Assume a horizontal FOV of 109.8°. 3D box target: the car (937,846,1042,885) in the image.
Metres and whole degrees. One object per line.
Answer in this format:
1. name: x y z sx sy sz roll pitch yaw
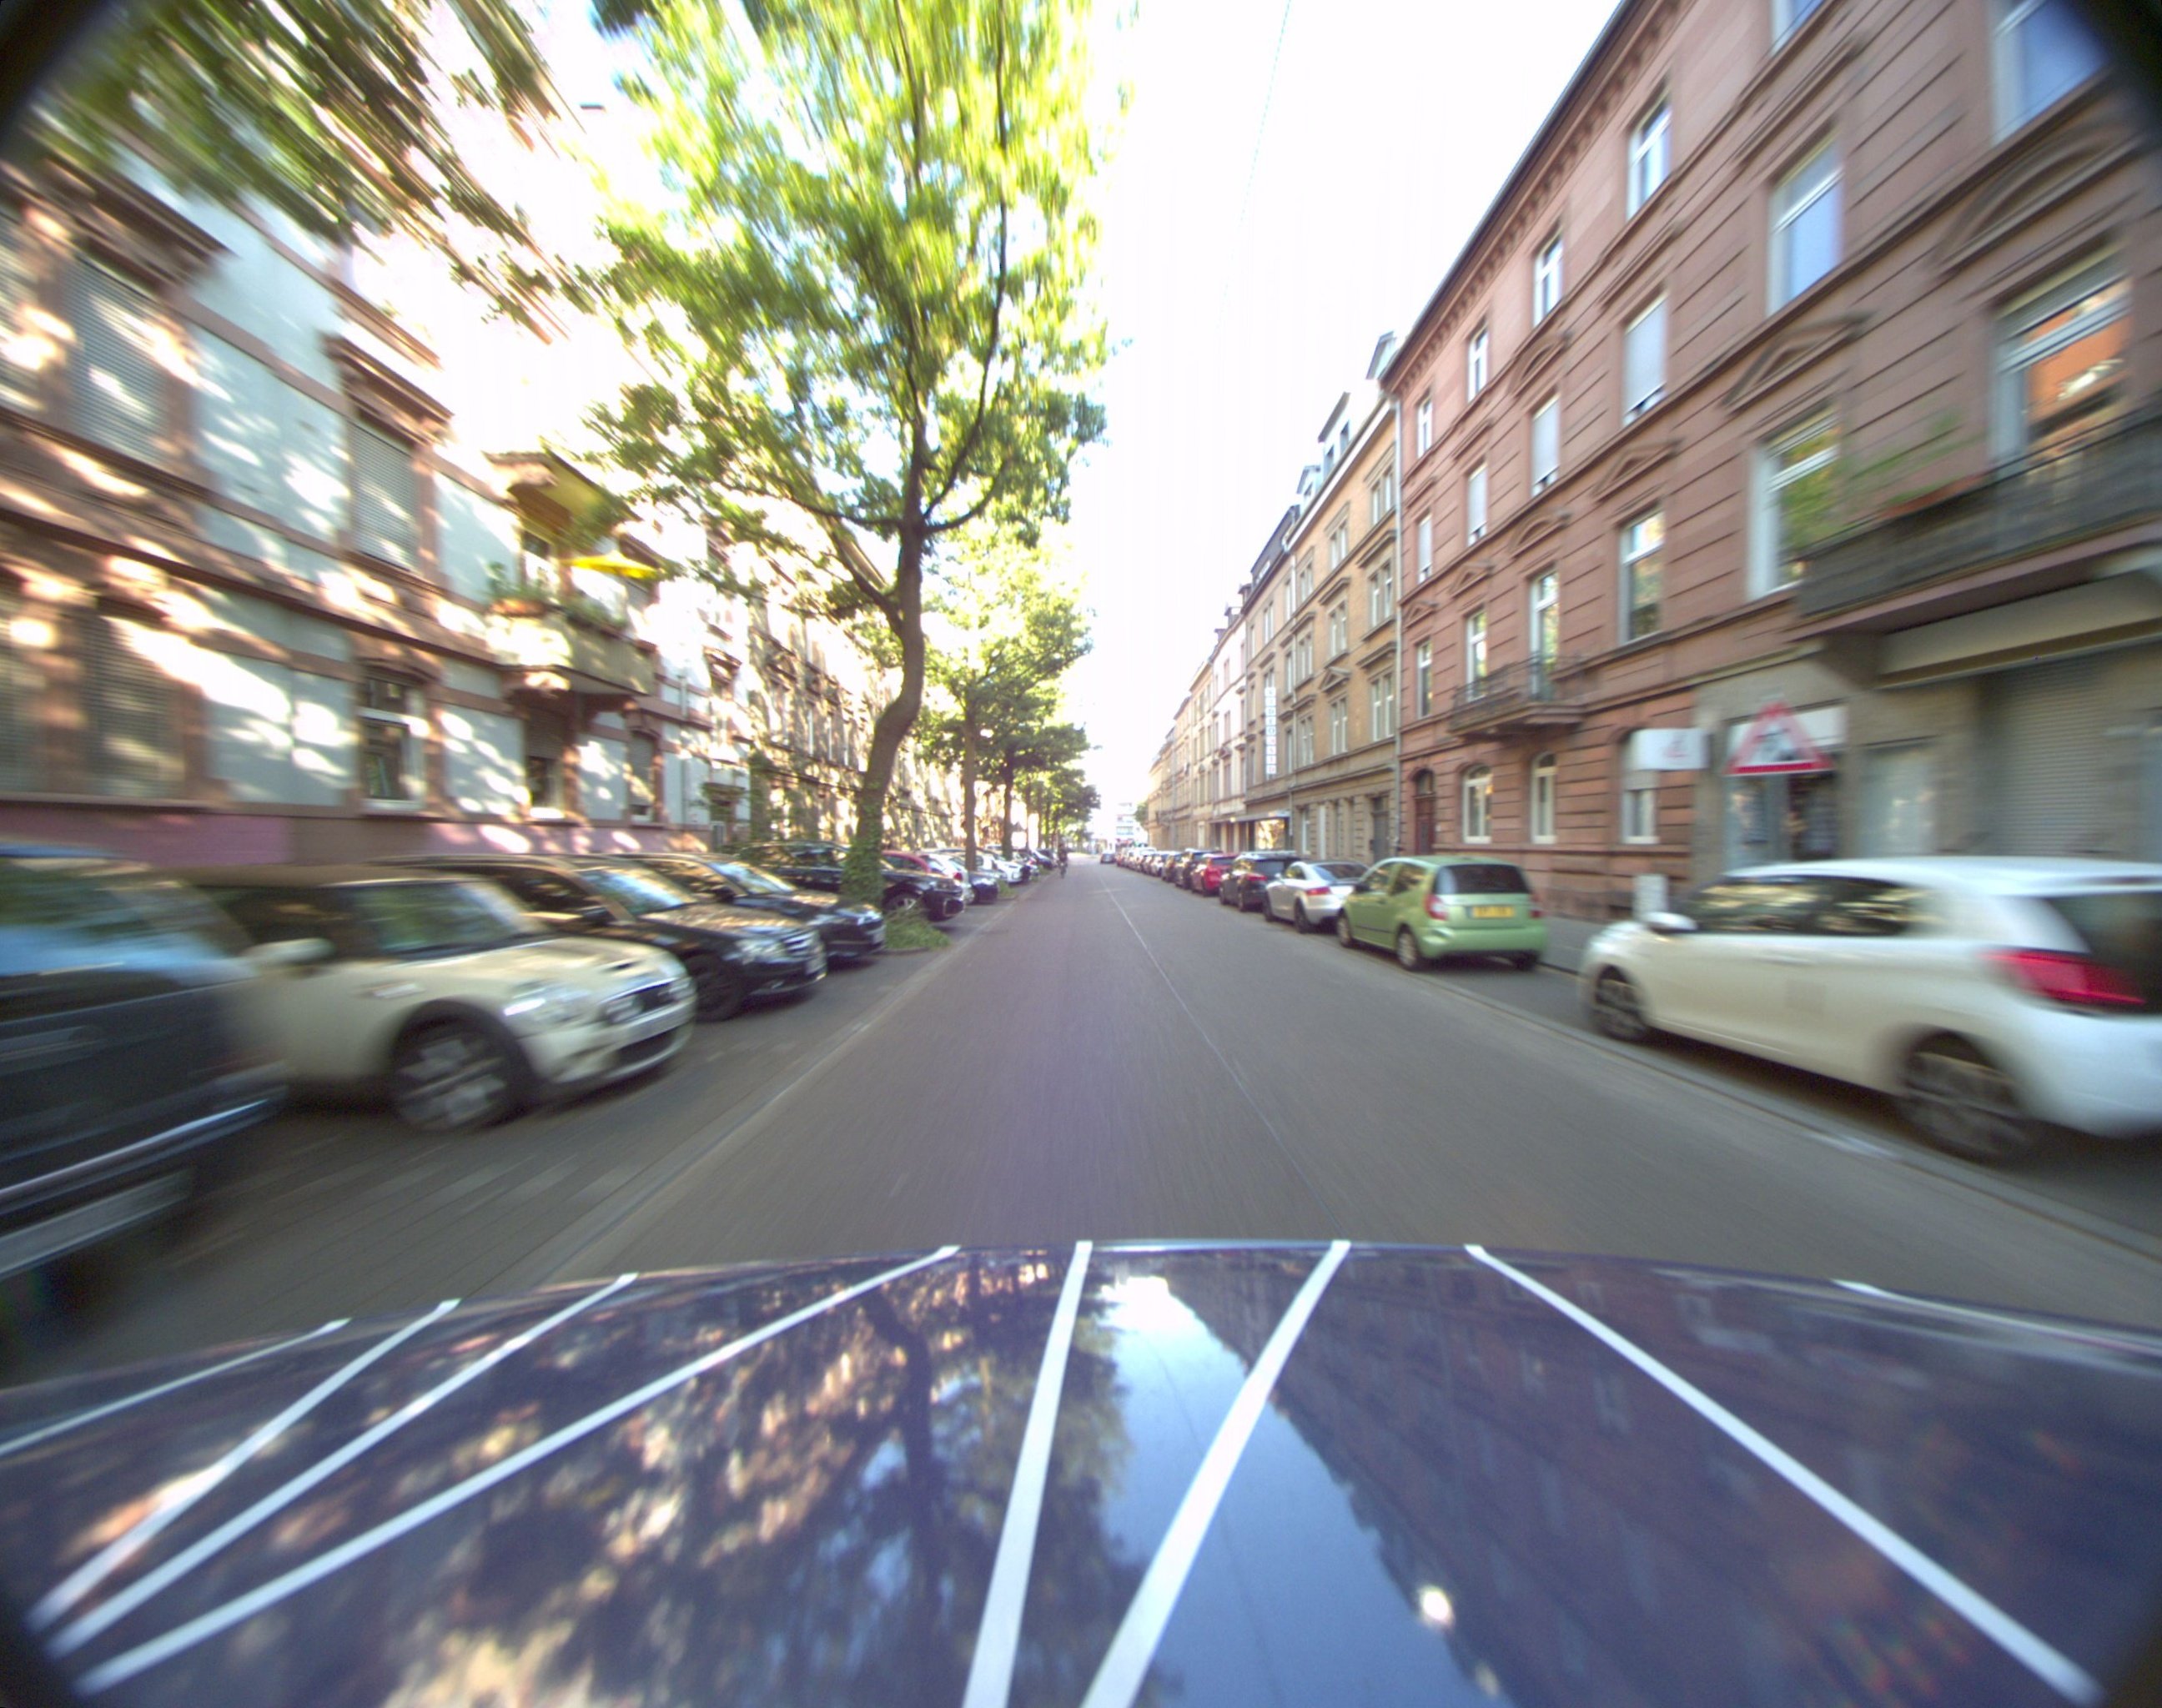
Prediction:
1. car: -4.136 0.518 34.759 4.486 1.647 1.891 0 2 2

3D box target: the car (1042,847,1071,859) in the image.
1. car: -3.581 -0.178 111.816 4.057 1.521 1.781 4 1 1

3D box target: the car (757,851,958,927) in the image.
1. car: -4.852 0.731 16.956 3.998 1.581 1.782 0 1 -3

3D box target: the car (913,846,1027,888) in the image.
1. car: -4.589 0.533 31.991 4.487 1.647 1.890 -1 2 -1

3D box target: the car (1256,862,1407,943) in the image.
1. car: 4.840 0.868 15.285 1.709 1.315 4.100 0 1 0

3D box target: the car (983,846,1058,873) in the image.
1. car: -4.053 0.343 51.678 4.933 1.623 2.077 2 1 -3

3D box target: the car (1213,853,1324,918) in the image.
1. car: 4.846 0.740 20.287 1.825 1.468 4.423 -2 1 0

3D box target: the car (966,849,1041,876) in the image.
1. car: -4.497 0.467 44.583 4.155 1.446 1.936 1 1 -1

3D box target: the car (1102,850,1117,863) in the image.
1. car: 3.694 0.296 98.262 1.868 1.620 3.825 -1 1 2

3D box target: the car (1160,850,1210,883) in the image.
1. car: 5.001 0.562 37.058 1.867 1.464 4.488 0 0 1

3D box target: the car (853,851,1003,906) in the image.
1. car: -4.390 0.677 22.261 3.997 1.380 1.677 2 1 0

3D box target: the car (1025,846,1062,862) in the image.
1. car: -4.370 0.004 89.469 4.056 1.612 1.781 4 1 1

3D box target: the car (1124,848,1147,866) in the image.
1. car: 5.093 0.250 71.486 1.771 1.648 4.157 -1 1 0

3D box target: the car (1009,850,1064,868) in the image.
1. car: -3.750 0.404 64.408 4.468 1.360 1.903 2 1 2

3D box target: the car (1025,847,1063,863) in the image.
1. car: -4.072 0.130 84.602 4.056 1.571 1.781 3 1 2

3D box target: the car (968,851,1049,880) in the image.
1. car: -3.735 0.561 39.545 3.997 1.448 1.687 0 1 1

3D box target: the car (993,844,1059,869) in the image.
1. car: -4.264 0.191 58.426 4.684 1.879 1.904 1 0 -21

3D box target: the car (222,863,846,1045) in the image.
1. car: -4.944 0.863 7.425 4.671 1.494 1.932 0 1 0

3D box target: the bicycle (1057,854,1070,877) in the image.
1. bicycle: -0.995 0.652 44.317 0.712 1.252 1.887 0 1 0

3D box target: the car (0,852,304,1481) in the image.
1. car: -4.772 0.826 1.837 3.895 1.639 1.724 0 1 -2

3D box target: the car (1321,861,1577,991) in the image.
1. car: 4.867 0.847 10.734 1.709 1.431 3.958 0 1 0

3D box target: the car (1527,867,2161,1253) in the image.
1. car: 4.967 0.878 5.098 1.586 1.464 3.999 0 1 0

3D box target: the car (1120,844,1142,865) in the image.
1. car: 5.097 0.008 77.655 1.947 2.045 4.744 -1 1 0

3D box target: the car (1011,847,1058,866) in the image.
1. car: -4.384 0.214 71.861 4.243 1.579 1.738 3 1 -1

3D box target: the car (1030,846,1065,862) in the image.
1. car: -4.106 -0.033 94.131 4.056 1.612 1.781 4 1 1

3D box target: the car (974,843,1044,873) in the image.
1. car: -4.434 0.234 47.408 4.135 1.778 1.945 0 1 2

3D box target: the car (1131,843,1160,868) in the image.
1. car: 5.090 0.098 60.359 1.847 1.823 4.606 -1 1 -1

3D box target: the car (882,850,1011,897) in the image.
1. car: -4.621 0.656 26.643 4.234 1.527 1.800 -1 0 -3

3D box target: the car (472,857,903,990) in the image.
1. car: -4.857 0.823 9.905 4.563 1.521 2.000 0 1 2

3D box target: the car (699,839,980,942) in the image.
1. car: -4.345 0.644 14.276 4.658 1.693 1.881 1 1 -3

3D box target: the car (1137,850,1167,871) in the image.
1. car: 5.115 0.441 54.996 1.751 1.464 4.243 0 1 0

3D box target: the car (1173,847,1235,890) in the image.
1. car: 4.934 0.534 31.043 1.825 1.591 4.313 -2 1 0

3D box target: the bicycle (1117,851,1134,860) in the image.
1. bicycle: 5.685 0.191 96.859 2.043 1.092 0.587 -1 1 2

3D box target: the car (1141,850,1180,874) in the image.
1. car: 5.043 0.482 48.771 1.891 1.436 4.541 -1 1 -1

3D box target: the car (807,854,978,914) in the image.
1. car: -4.745 0.740 19.552 3.998 1.454 1.782 0 1 -3

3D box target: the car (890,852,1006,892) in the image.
1. car: -5.066 0.667 29.312 4.110 1.461 1.801 0 0 1

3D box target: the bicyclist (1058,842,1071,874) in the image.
1. bicyclist: -0.977 0.214 44.358 0.712 1.865 1.120 0 1 0

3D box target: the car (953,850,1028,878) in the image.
1. car: -4.986 0.514 42.092 3.998 1.486 1.686 0 1 -3

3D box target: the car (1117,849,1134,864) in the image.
1. car: 4.867 0.264 83.188 1.641 1.482 3.824 -1 1 0

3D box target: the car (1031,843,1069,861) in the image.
1. car: -4.077 -0.263 99.442 4.699 1.966 1.925 4 1 1

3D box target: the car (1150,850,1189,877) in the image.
1. car: 5.122 0.503 44.383 1.761 1.464 4.087 0 0 -1

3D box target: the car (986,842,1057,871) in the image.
1. car: -4.291 0.167 54.869 4.933 1.890 2.175 2 1 -3

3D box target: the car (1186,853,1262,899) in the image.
1. car: 4.925 0.713 26.722 1.825 1.417 4.313 -2 1 0

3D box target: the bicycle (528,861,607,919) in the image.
1. bicycle: -10.178 0.684 15.126 0.325 1.044 1.704 0 1 4

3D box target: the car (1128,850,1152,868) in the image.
1. car: 5.058 0.391 65.074 1.641 1.413 3.824 -1 1 -1

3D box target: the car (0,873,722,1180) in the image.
1. car: -4.755 0.898 4.772 4.115 1.494 1.811 0 1 1
